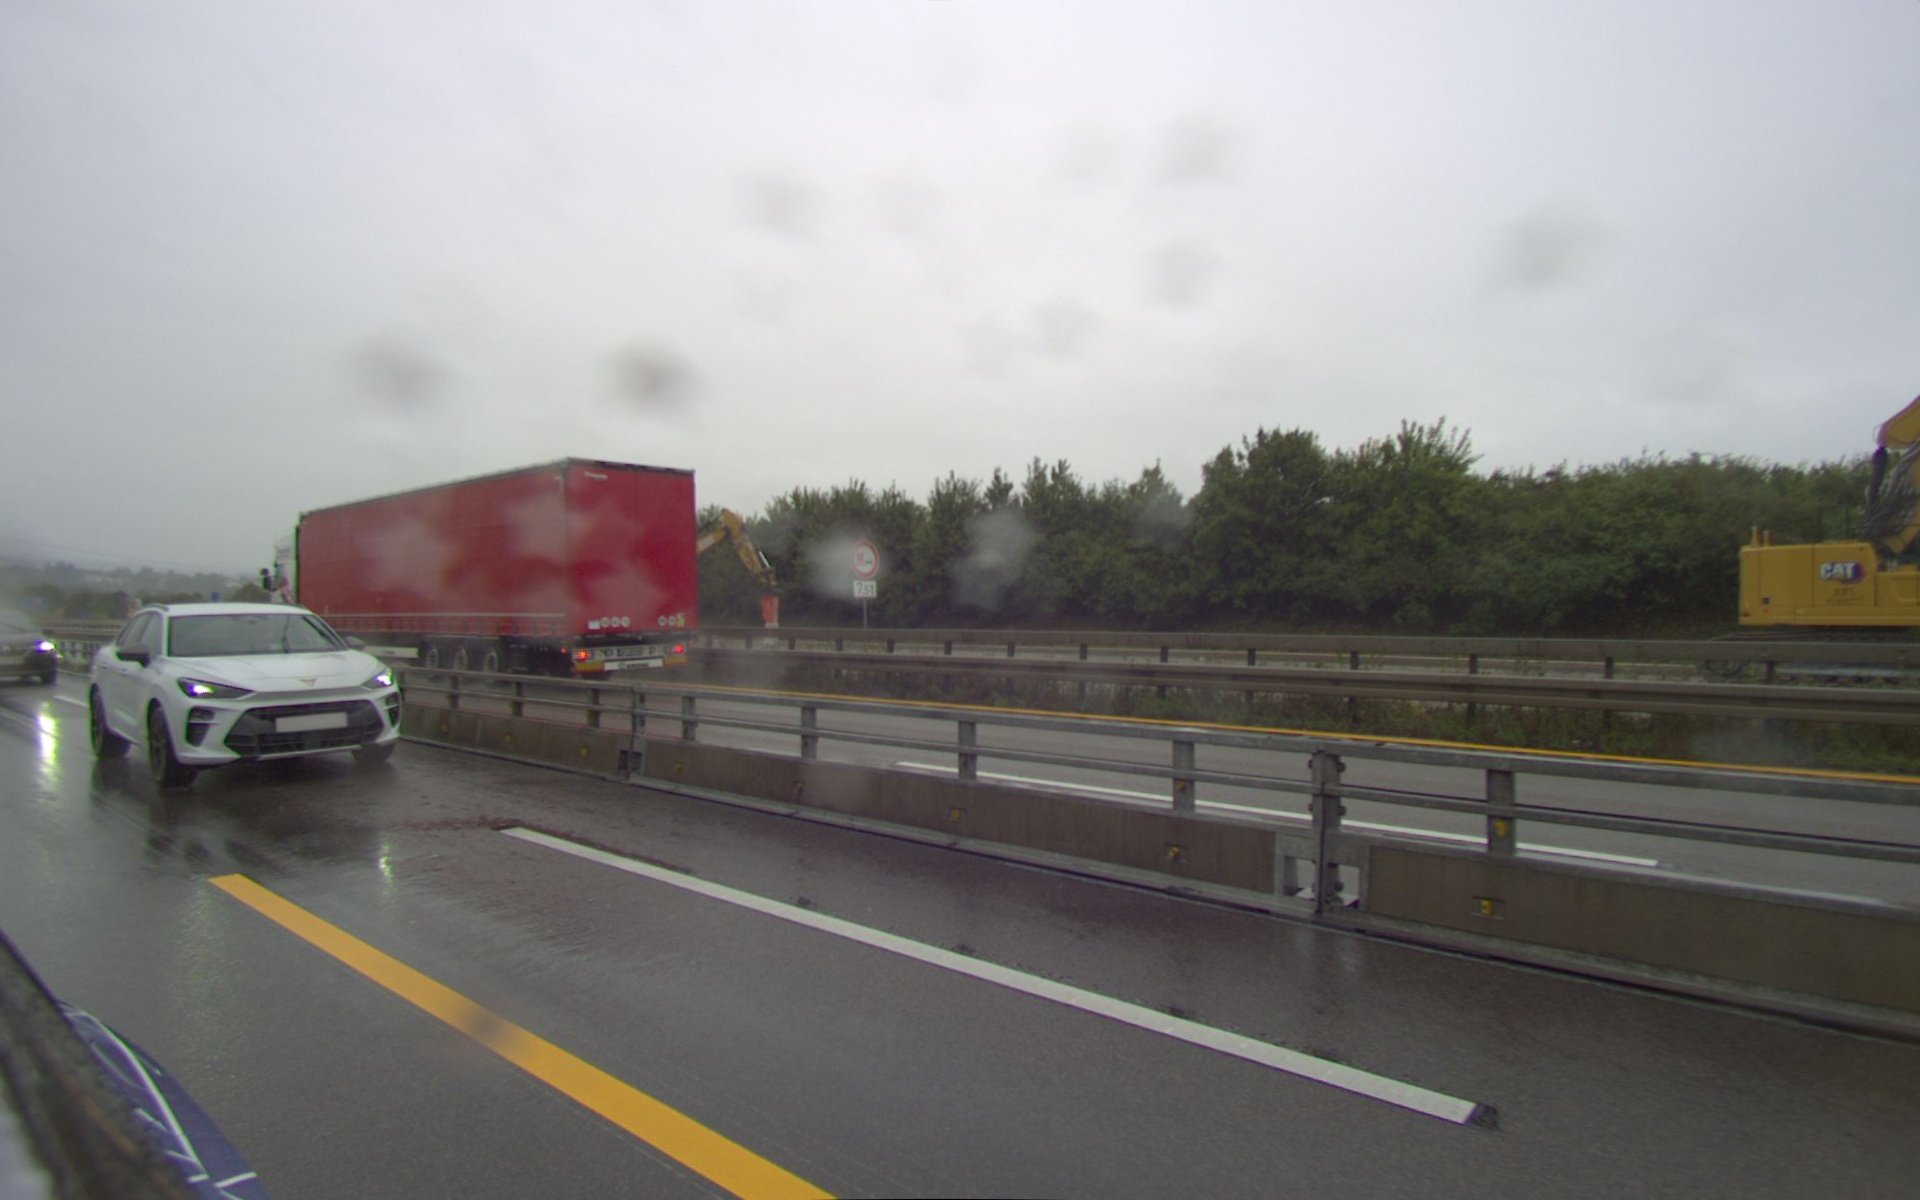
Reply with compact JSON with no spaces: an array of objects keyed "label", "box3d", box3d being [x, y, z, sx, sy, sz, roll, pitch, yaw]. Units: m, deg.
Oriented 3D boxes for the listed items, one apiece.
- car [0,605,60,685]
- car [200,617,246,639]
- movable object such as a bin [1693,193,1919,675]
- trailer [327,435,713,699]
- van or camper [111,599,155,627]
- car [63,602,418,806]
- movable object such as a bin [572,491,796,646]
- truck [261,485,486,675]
[{"label":"car","box3d":[-21.617,0.952,22.362,5.194,1.640,2.042,-1,-1,42]},{"label":"car","box3d":[-69.506,2.597,95.362,5.356,1.981,2.074,-1,-1,37]},{"label":"movable object such as a bin","box3d":[18.318,-2.863,17.871,8.307,8.204,3.558,-1,1,42]},{"label":"trailer","box3d":[-9.749,-0.468,21.348,11.053,4.327,2.945,-1,-2,41]},{"label":"van or camper","box3d":[-133.263,2.153,163.065,8.489,4.356,3.337,-1,1,36]},{"label":"car","box3d":[-7.452,0.830,10.241,5.005,1.562,1.907,-1,0,42]},{"label":"movable object such as a bin","box3d":[-12.289,-1.216,44.193,11.044,5.959,4.126,-1,1,43]},{"label":"truck","box3d":[-15.336,-0.398,26.250,6.797,4.304,2.976,-1,-2,41]}]
